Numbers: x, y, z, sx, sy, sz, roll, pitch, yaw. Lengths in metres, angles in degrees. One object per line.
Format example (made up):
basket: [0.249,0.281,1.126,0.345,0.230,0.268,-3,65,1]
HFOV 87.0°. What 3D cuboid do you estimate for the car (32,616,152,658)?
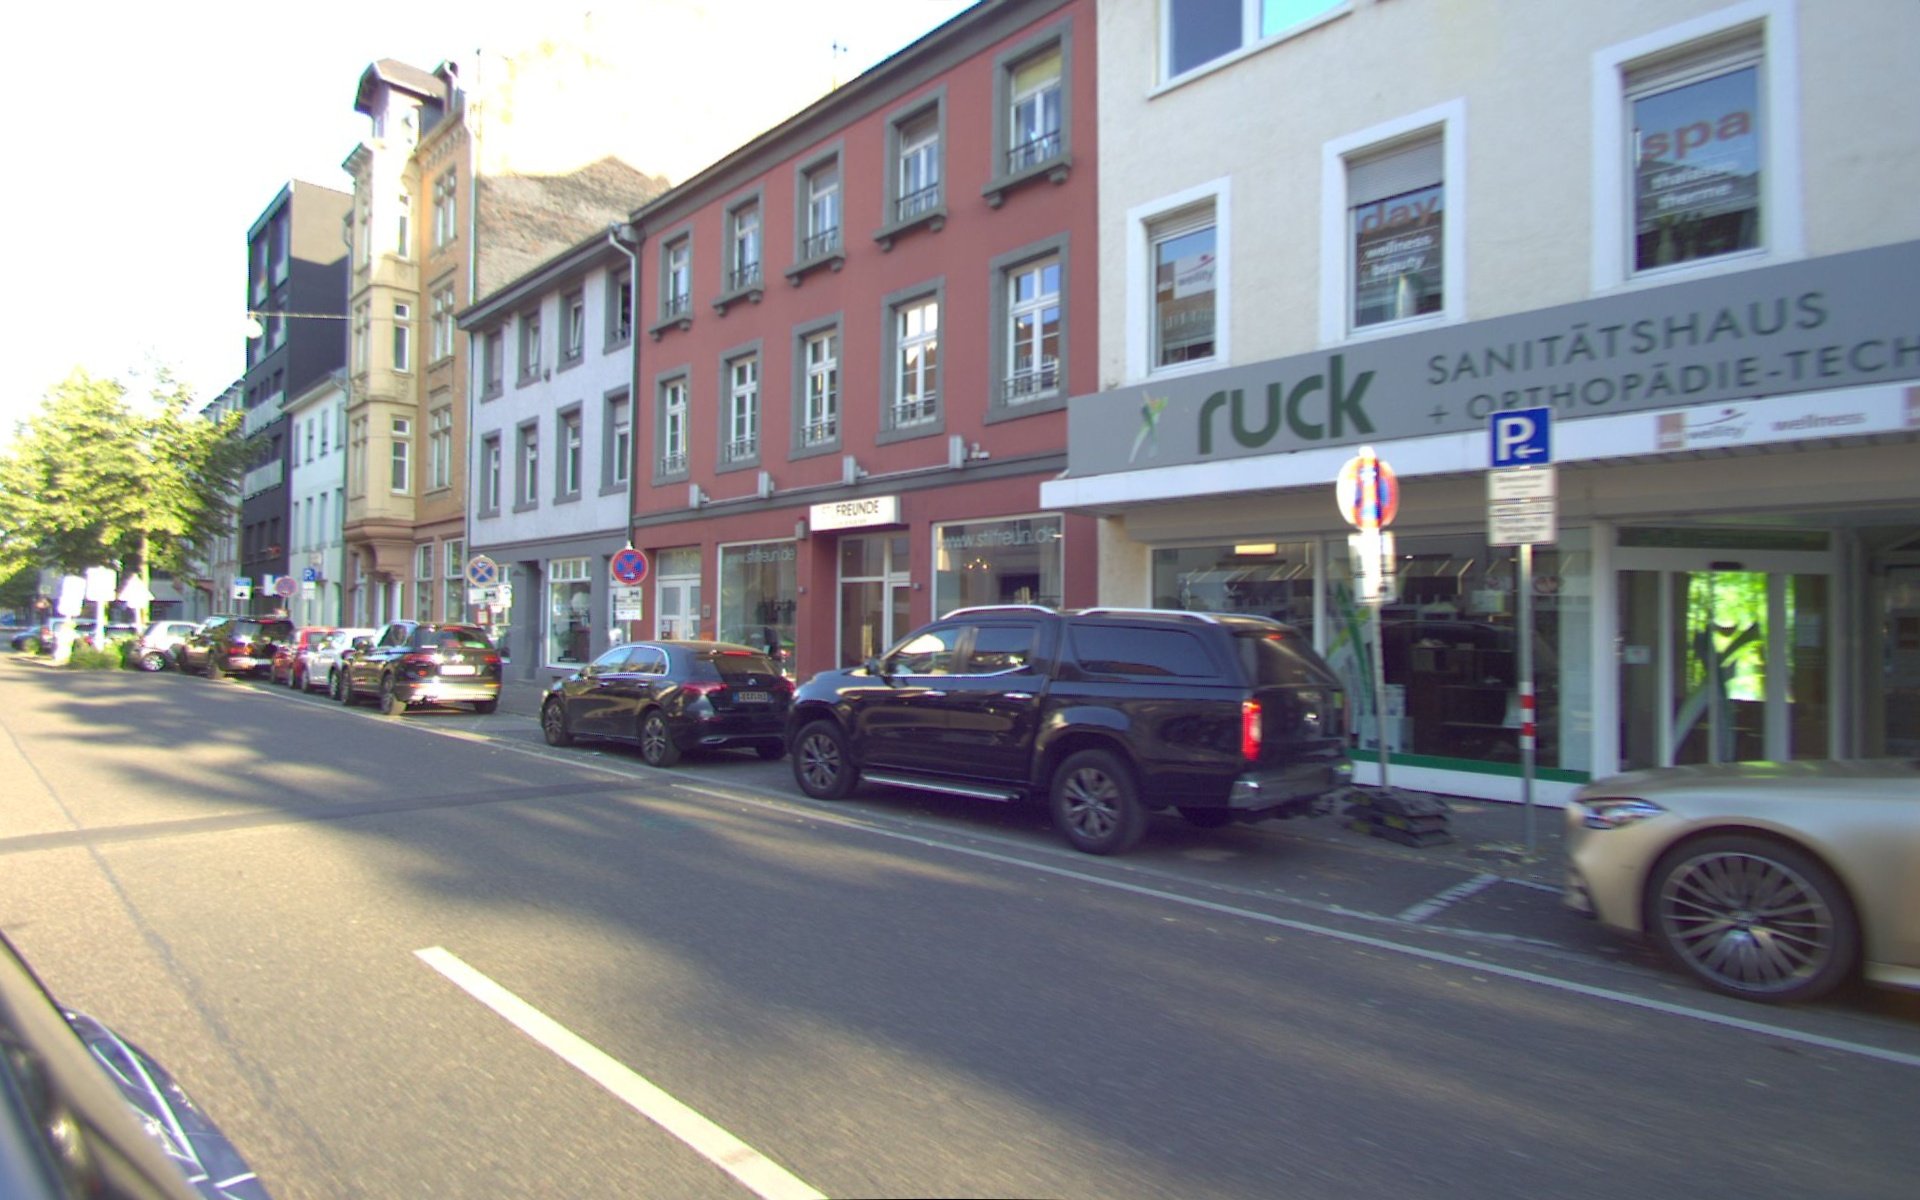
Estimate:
car: [-42.937,1.847,50.125,2.054,1.998,4.139,-1,-3,39]

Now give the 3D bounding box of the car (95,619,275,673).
car: [-24.458,1.466,32.044,2.054,1.594,4.139,-1,-3,39]

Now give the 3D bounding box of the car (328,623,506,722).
car: [-10.159,1.260,18.795,1.746,1.626,4.219,3,-3,-45]

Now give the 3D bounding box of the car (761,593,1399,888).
car: [0.701,0.931,8.682,5.299,1.783,1.972,-1,-3,43]

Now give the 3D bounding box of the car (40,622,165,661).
car: [-39.276,1.917,46.436,1.995,1.689,4.078,-1,-3,41]

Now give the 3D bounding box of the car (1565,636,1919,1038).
car: [5.326,0.928,3.618,1.971,1.522,5.116,3,-3,-45]

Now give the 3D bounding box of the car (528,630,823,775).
car: [-3.742,1.171,12.873,1.746,1.522,4.219,3,-3,-45]

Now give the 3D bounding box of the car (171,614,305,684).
car: [-19.870,1.309,27.805,4.215,1.766,2.028,-1,-3,41]

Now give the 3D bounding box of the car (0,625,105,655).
car: [-52.075,2.304,58.037,2.046,1.640,4.156,0,-3,27]

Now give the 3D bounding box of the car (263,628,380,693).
car: [-15.872,1.454,25.109,1.666,1.475,3.544,3,-3,-45]

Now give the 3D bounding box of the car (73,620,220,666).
car: [-29.891,1.598,37.285,1.957,1.594,3.861,-1,-3,39]

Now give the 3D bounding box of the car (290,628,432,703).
car: [-13.173,1.384,22.169,1.746,1.475,3.869,3,-3,-45]
